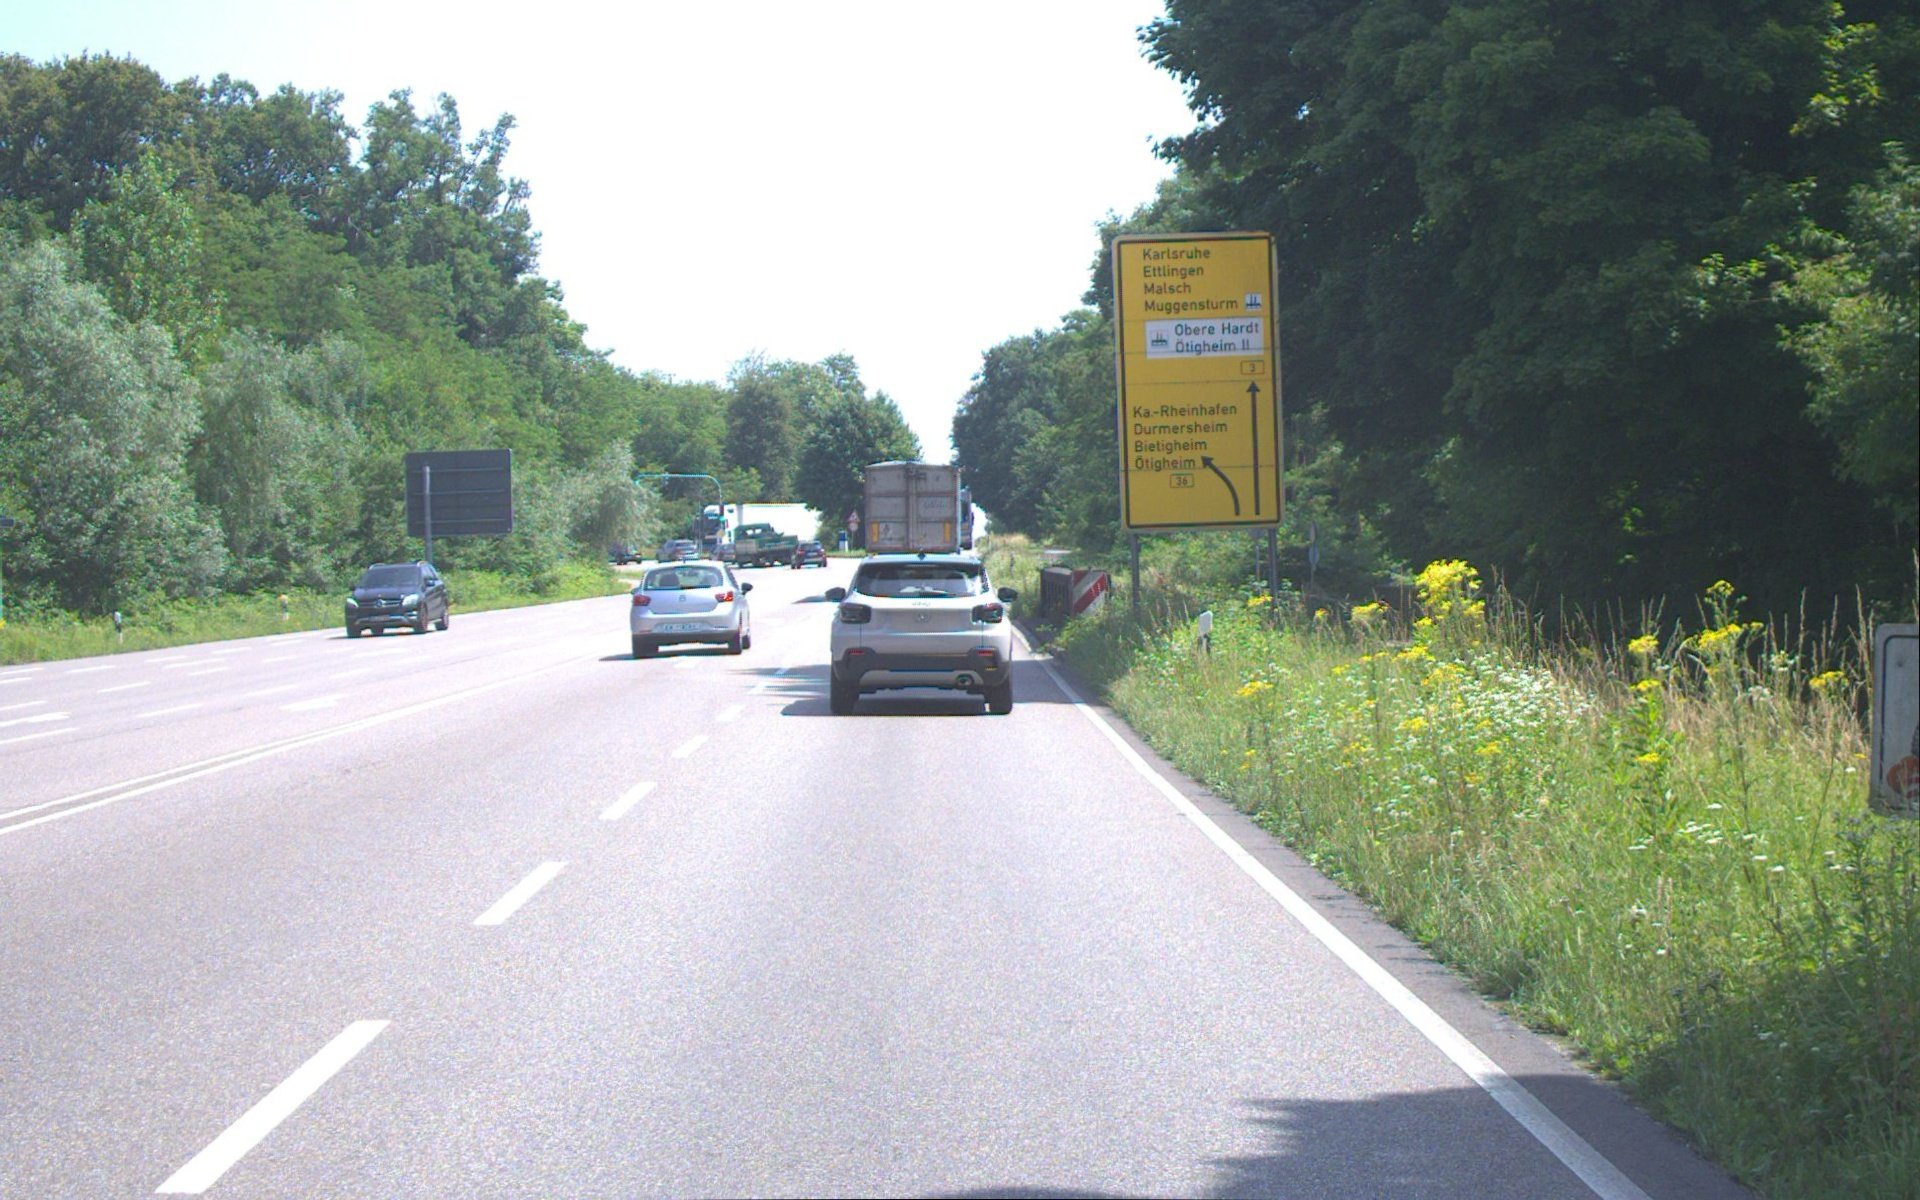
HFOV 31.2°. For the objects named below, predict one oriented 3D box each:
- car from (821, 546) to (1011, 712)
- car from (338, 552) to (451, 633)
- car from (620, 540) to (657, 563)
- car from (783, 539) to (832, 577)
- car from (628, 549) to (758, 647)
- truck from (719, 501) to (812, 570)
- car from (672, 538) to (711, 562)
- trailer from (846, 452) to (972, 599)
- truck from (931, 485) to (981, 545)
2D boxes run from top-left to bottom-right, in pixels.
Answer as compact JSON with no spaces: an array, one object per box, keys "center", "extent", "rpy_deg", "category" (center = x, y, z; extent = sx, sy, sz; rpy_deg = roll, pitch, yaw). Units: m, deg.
[{"center":[-0.397,0.248,34.513],"extent":[1.767,1.529,4.000],"rpy_deg":[-1,1,1],"category":"car"},{"center":[-14.115,-0.209,86.049],"extent":[1.993,1.875,4.960],"rpy_deg":[-2,1,-1],"category":"car"},{"center":[-22.731,-3.429,242.983],"extent":[1.993,1.579,4.001],"rpy_deg":[-1,1,-14],"category":"car"},{"center":[-8.624,-2.349,194.000],"extent":[1.993,2.007,4.555],"rpy_deg":[-3,1,-11],"category":"car"},{"center":[-4.079,-0.056,52.969],"extent":[1.666,1.425,3.828],"rpy_deg":[0,1,1],"category":"car"},{"center":[-11.917,-3.914,209.855],"extent":[3.645,4.091,9.512],"rpy_deg":[-1,1,-16],"category":"truck"},{"center":[-18.080,-3.354,231.367],"extent":[1.993,1.579,4.001],"rpy_deg":[-1,1,-14],"category":"car"},{"center":[-1.376,-2.074,98.972],"extent":[3.382,3.975,10.804],"rpy_deg":[0,1,0],"category":"trailer"},{"center":[-0.320,-6.072,247.986],"extent":[3.497,4.173,10.784],"rpy_deg":[0,1,-1],"category":"truck"}]
